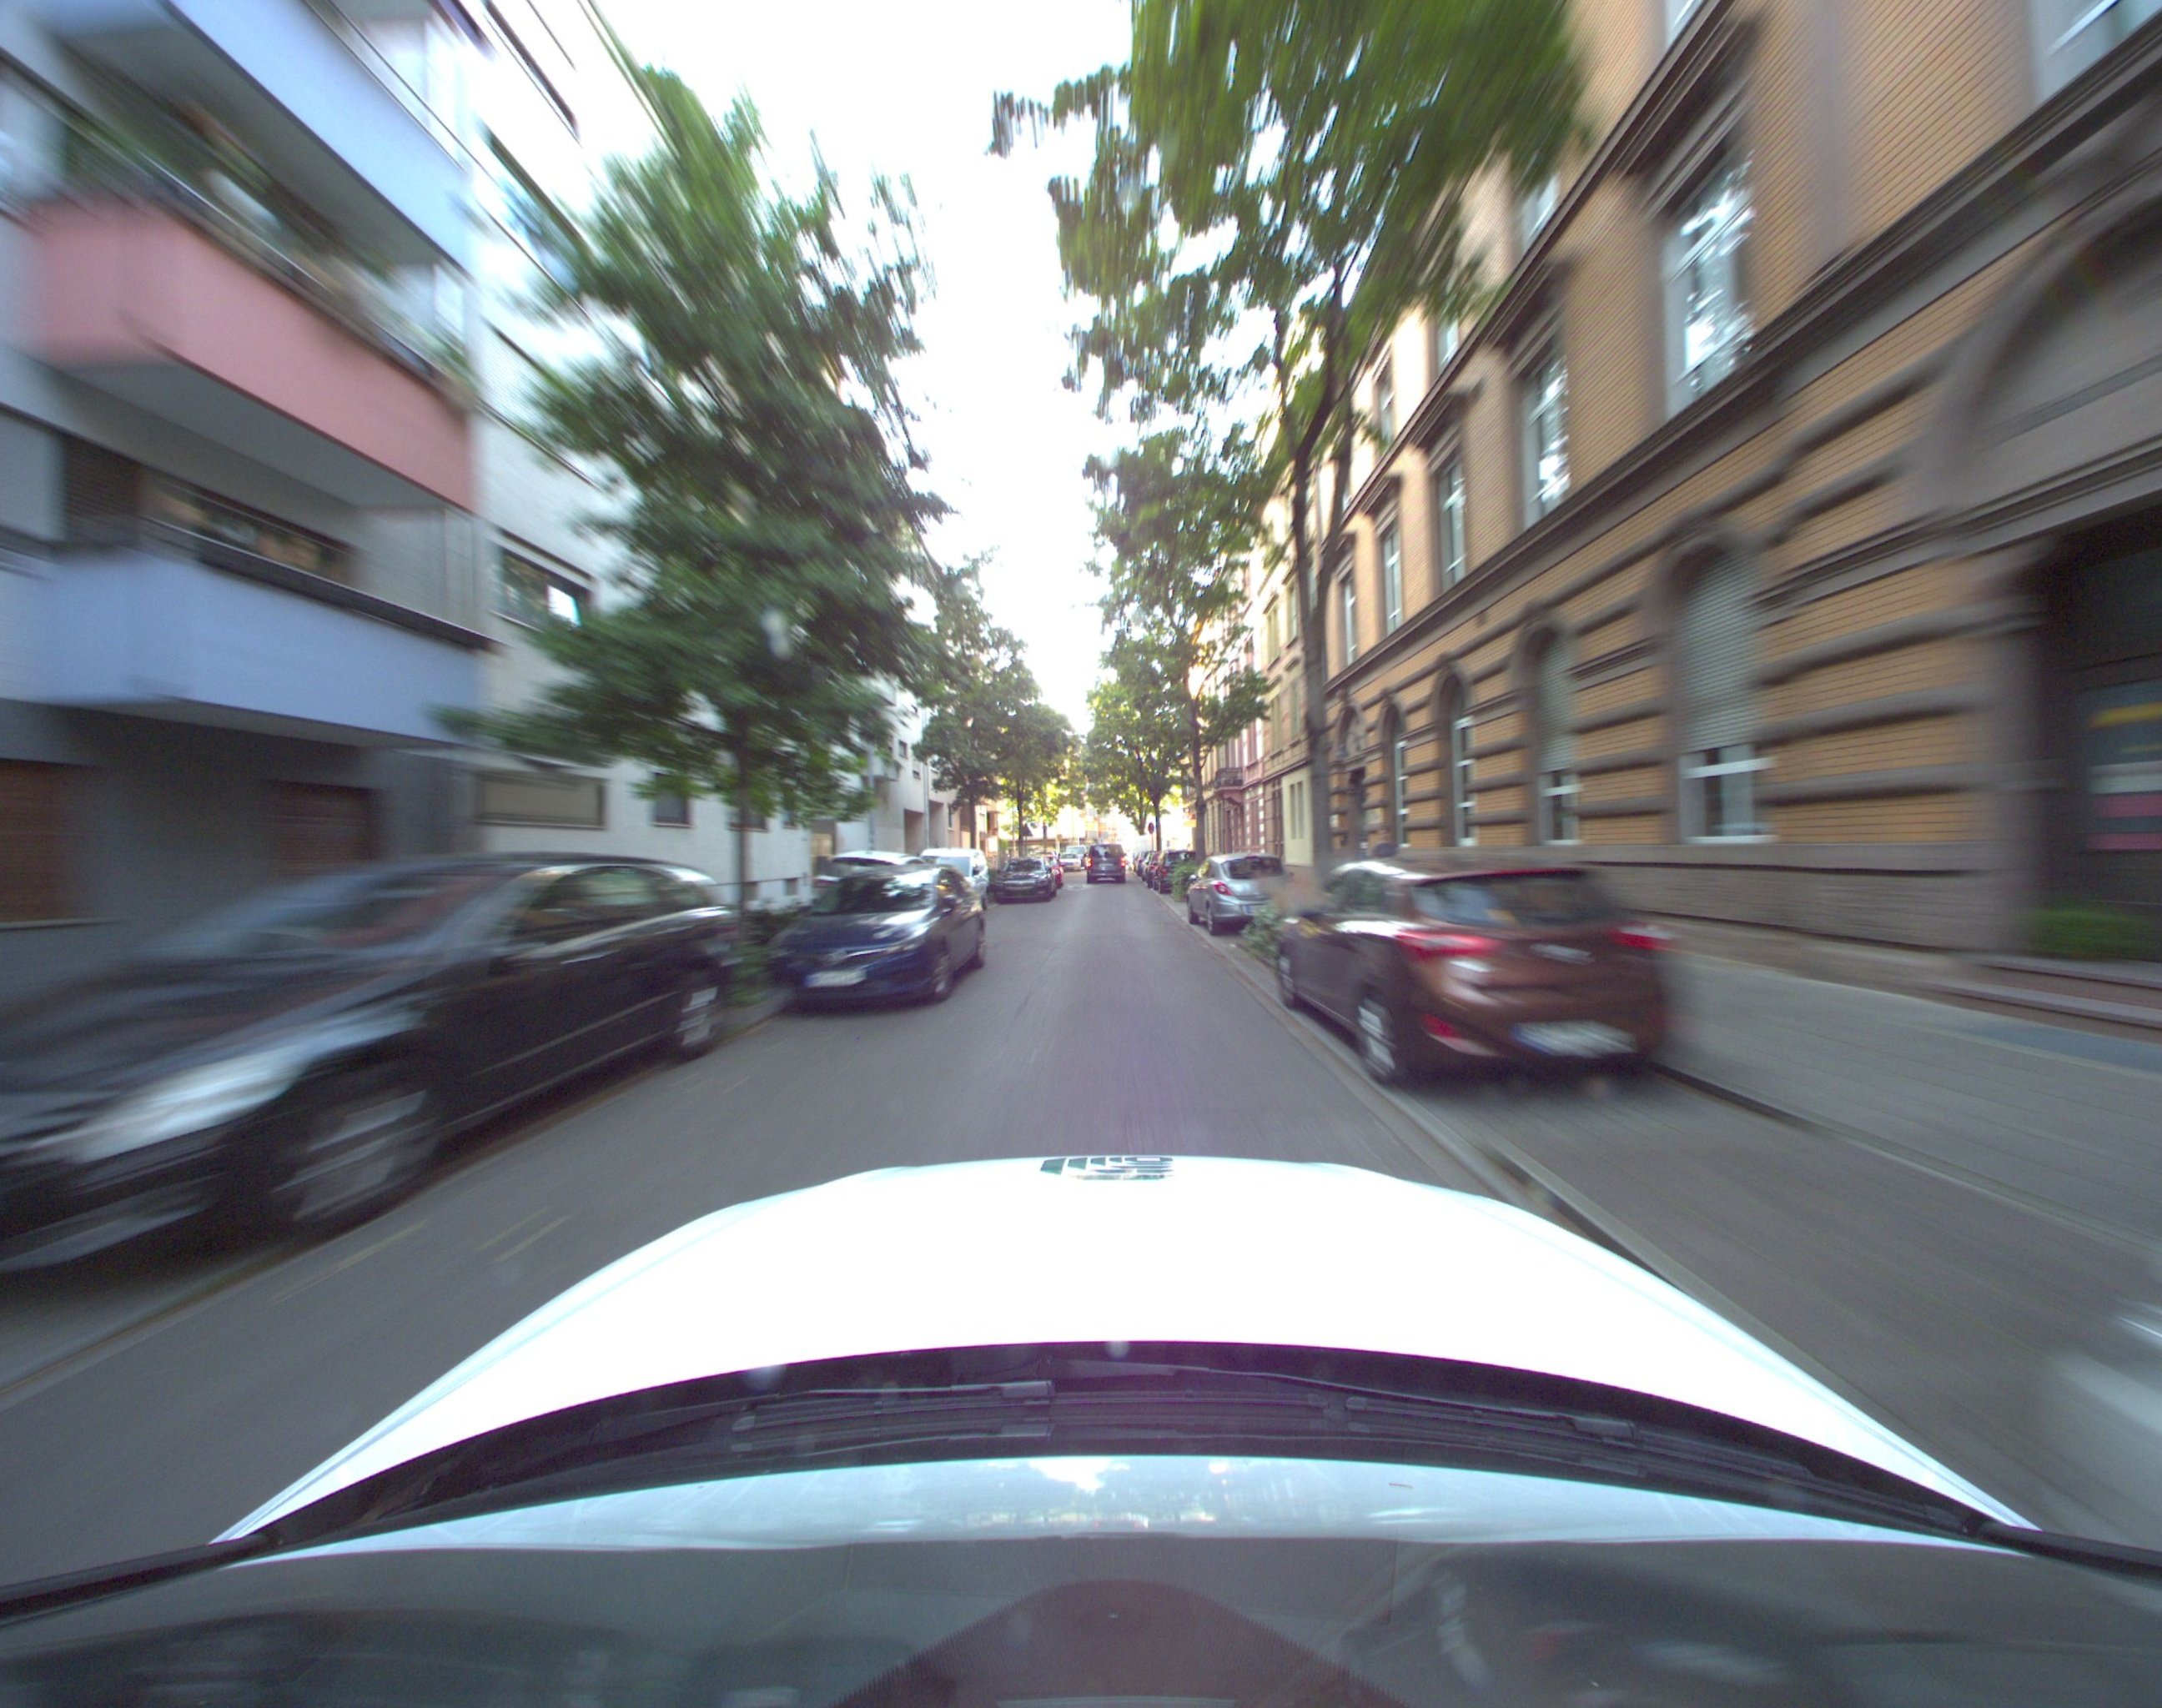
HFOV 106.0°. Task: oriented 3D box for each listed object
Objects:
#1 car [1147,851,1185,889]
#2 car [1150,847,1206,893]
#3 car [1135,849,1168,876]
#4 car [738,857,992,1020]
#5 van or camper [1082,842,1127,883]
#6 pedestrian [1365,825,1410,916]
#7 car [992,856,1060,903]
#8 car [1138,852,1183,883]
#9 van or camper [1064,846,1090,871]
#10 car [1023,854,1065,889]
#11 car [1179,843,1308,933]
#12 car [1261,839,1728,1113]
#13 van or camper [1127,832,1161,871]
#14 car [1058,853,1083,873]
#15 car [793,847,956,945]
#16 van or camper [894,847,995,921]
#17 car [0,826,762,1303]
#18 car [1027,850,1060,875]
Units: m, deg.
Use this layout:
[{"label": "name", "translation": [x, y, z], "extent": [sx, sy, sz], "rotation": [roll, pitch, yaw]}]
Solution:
[{"label": "car", "translation": [3.598, 0.654, 34.829], "extent": [1.544, 1.496, 3.615], "rotation": [-1, 0, 5]}, {"label": "car", "translation": [3.564, 0.555, 30.529], "extent": [1.606, 1.559, 3.766], "rotation": [-2, 0, 0]}, {"label": "car", "translation": [4.084, 0.458, 47.555], "extent": [1.743, 1.471, 3.778], "rotation": [-1, 0, 2]}, {"label": "car", "translation": [-2.327, 0.822, 10.106], "extent": [1.824, 1.517, 4.517], "rotation": [-1, 0, 1]}, {"label": "van or camper", "translation": [1.236, 0.396, 40.258], "extent": [2.026, 1.897, 4.275], "rotation": [-1, 0, 4]}, {"label": "pedestrian", "translation": [5.667, 0.297, 15.084], "extent": [0.624, 1.648, 0.532], "rotation": [-1, 0, 2]}, {"label": "car", "translation": [-1.792, 0.810, 27.932], "extent": [1.839, 1.451, 4.505], "rotation": [-1, 0, 2]}, {"label": "car", "translation": [3.818, 0.625, 39.477], "extent": [1.710, 1.403, 3.812], "rotation": [-2, 0, -1]}, {"label": "van or camper", "translation": [-0.288, 0.352, 67.633], "extent": [1.854, 1.983, 4.274], "rotation": [-2, 0, 3]}, {"label": "car", "translation": [-1.597, 0.768, 36.526], "extent": [1.624, 1.430, 3.543], "rotation": [-2, 0, 1]}, {"label": "car", "translation": [3.107, 0.602, 16.351], "extent": [1.692, 1.482, 3.999], "rotation": [-3, 0, 0]}, {"label": "car", "translation": [2.752, 0.686, 6.618], "extent": [1.715, 1.450, 4.216], "rotation": [-2, 0, 2]}, {"label": "van or camper", "translation": [4.489, -0.178, 58.536], "extent": [1.987, 2.599, 5.424], "rotation": [-1, 0, 0]}, {"label": "car", "translation": [-0.781, 0.675, 62.538], "extent": [1.735, 1.404, 3.376], "rotation": [-2, 0, 1]}, {"label": "car", "translation": [-3.969, 0.717, 16.586], "extent": [2.027, 1.672, 4.649], "rotation": [2, 0, 1]}, {"label": "van or camper", "translation": [-3.593, 0.722, 22.274], "extent": [1.924, 1.760, 4.466], "rotation": [2, 0, 1]}, {"label": "car", "translation": [-4.104, 0.718, 5.292], "extent": [1.986, 1.646, 4.924], "rotation": [0, 0, 2]}, {"label": "car", "translation": [-2.431, 0.538, 54.016], "extent": [1.890, 1.637, 4.157], "rotation": [0, 0, 1]}]
